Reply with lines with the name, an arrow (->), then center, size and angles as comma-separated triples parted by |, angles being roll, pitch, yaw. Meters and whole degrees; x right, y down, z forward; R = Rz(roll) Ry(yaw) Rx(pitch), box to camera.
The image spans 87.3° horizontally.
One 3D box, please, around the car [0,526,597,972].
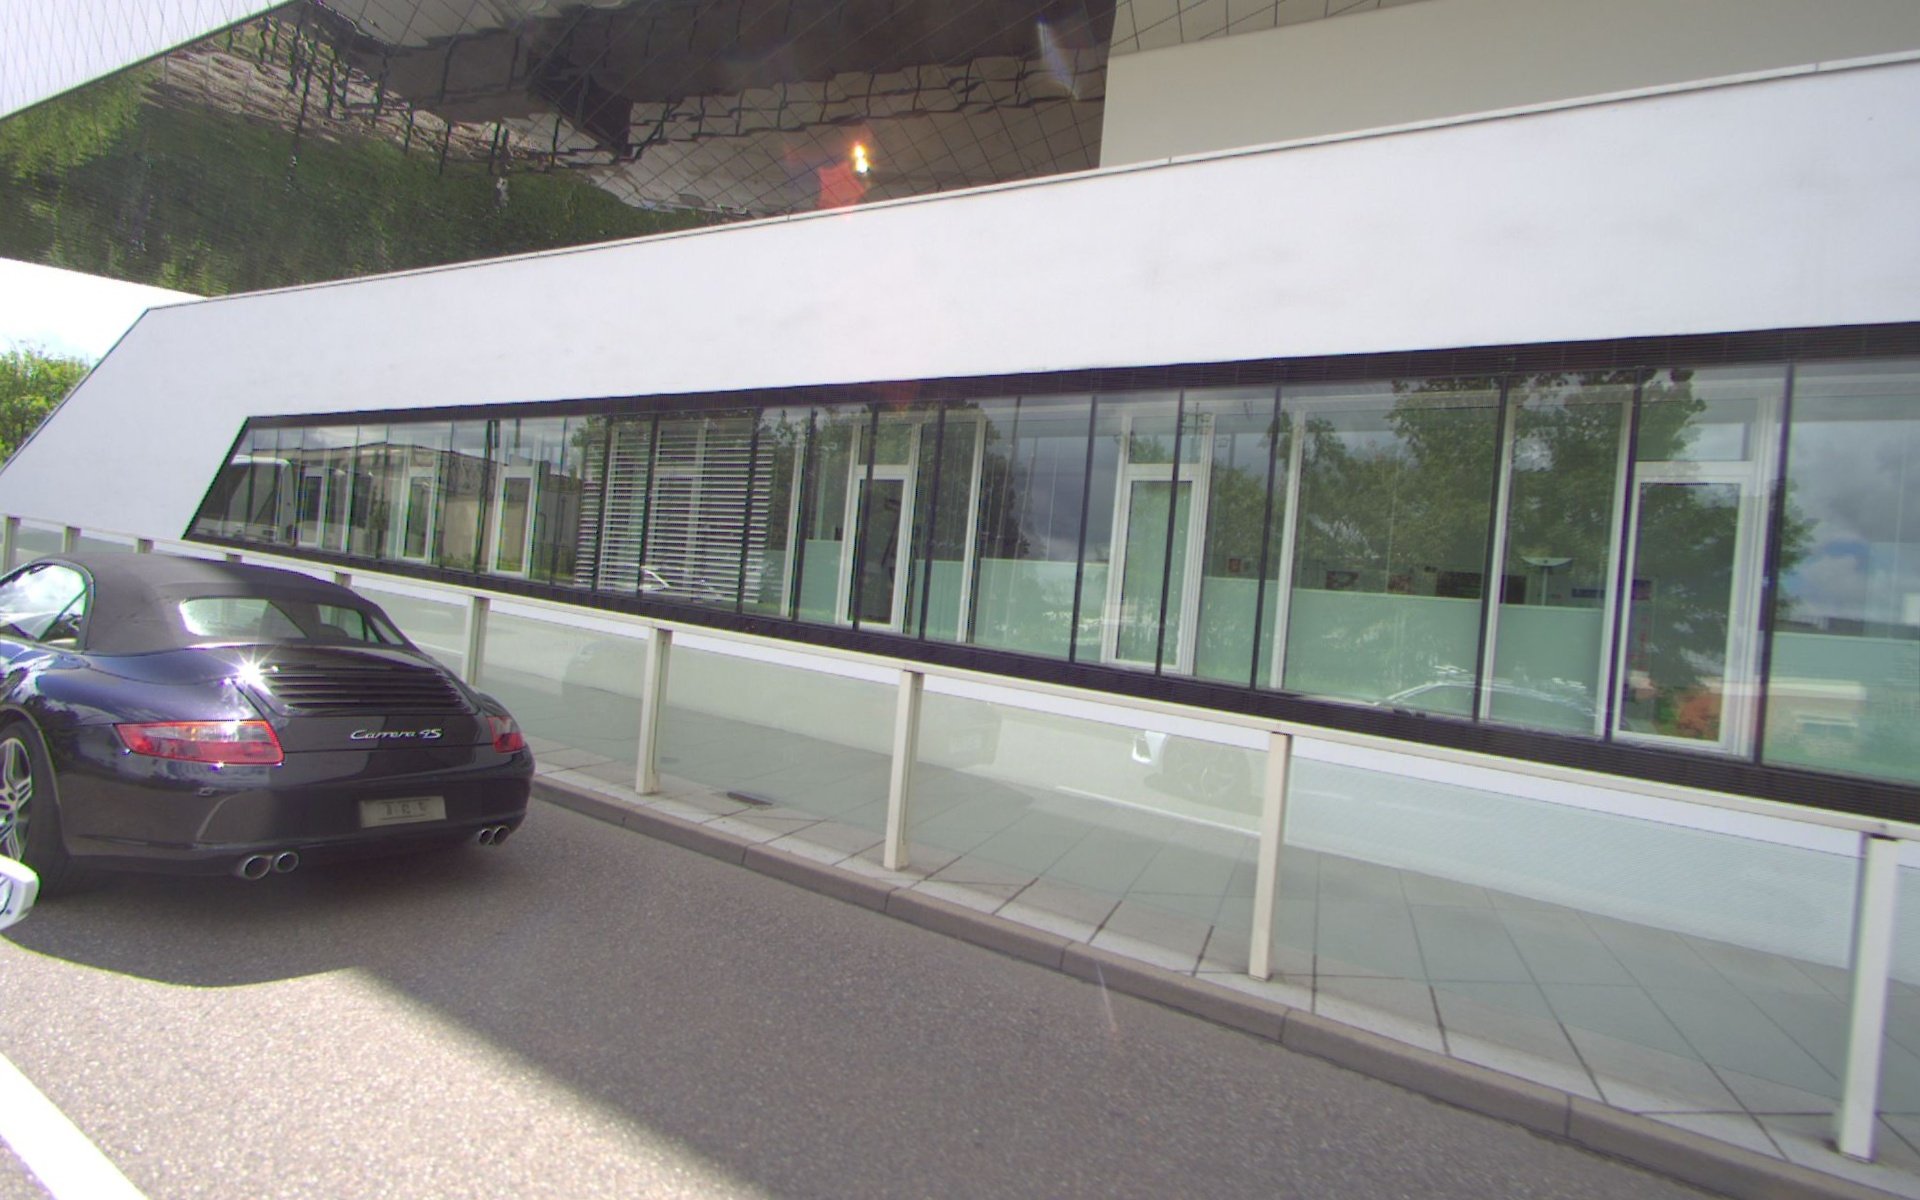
car -> -3.883, 0.415, 4.954 | 4.020, 1.290, 1.723 | 6, -1, 32
